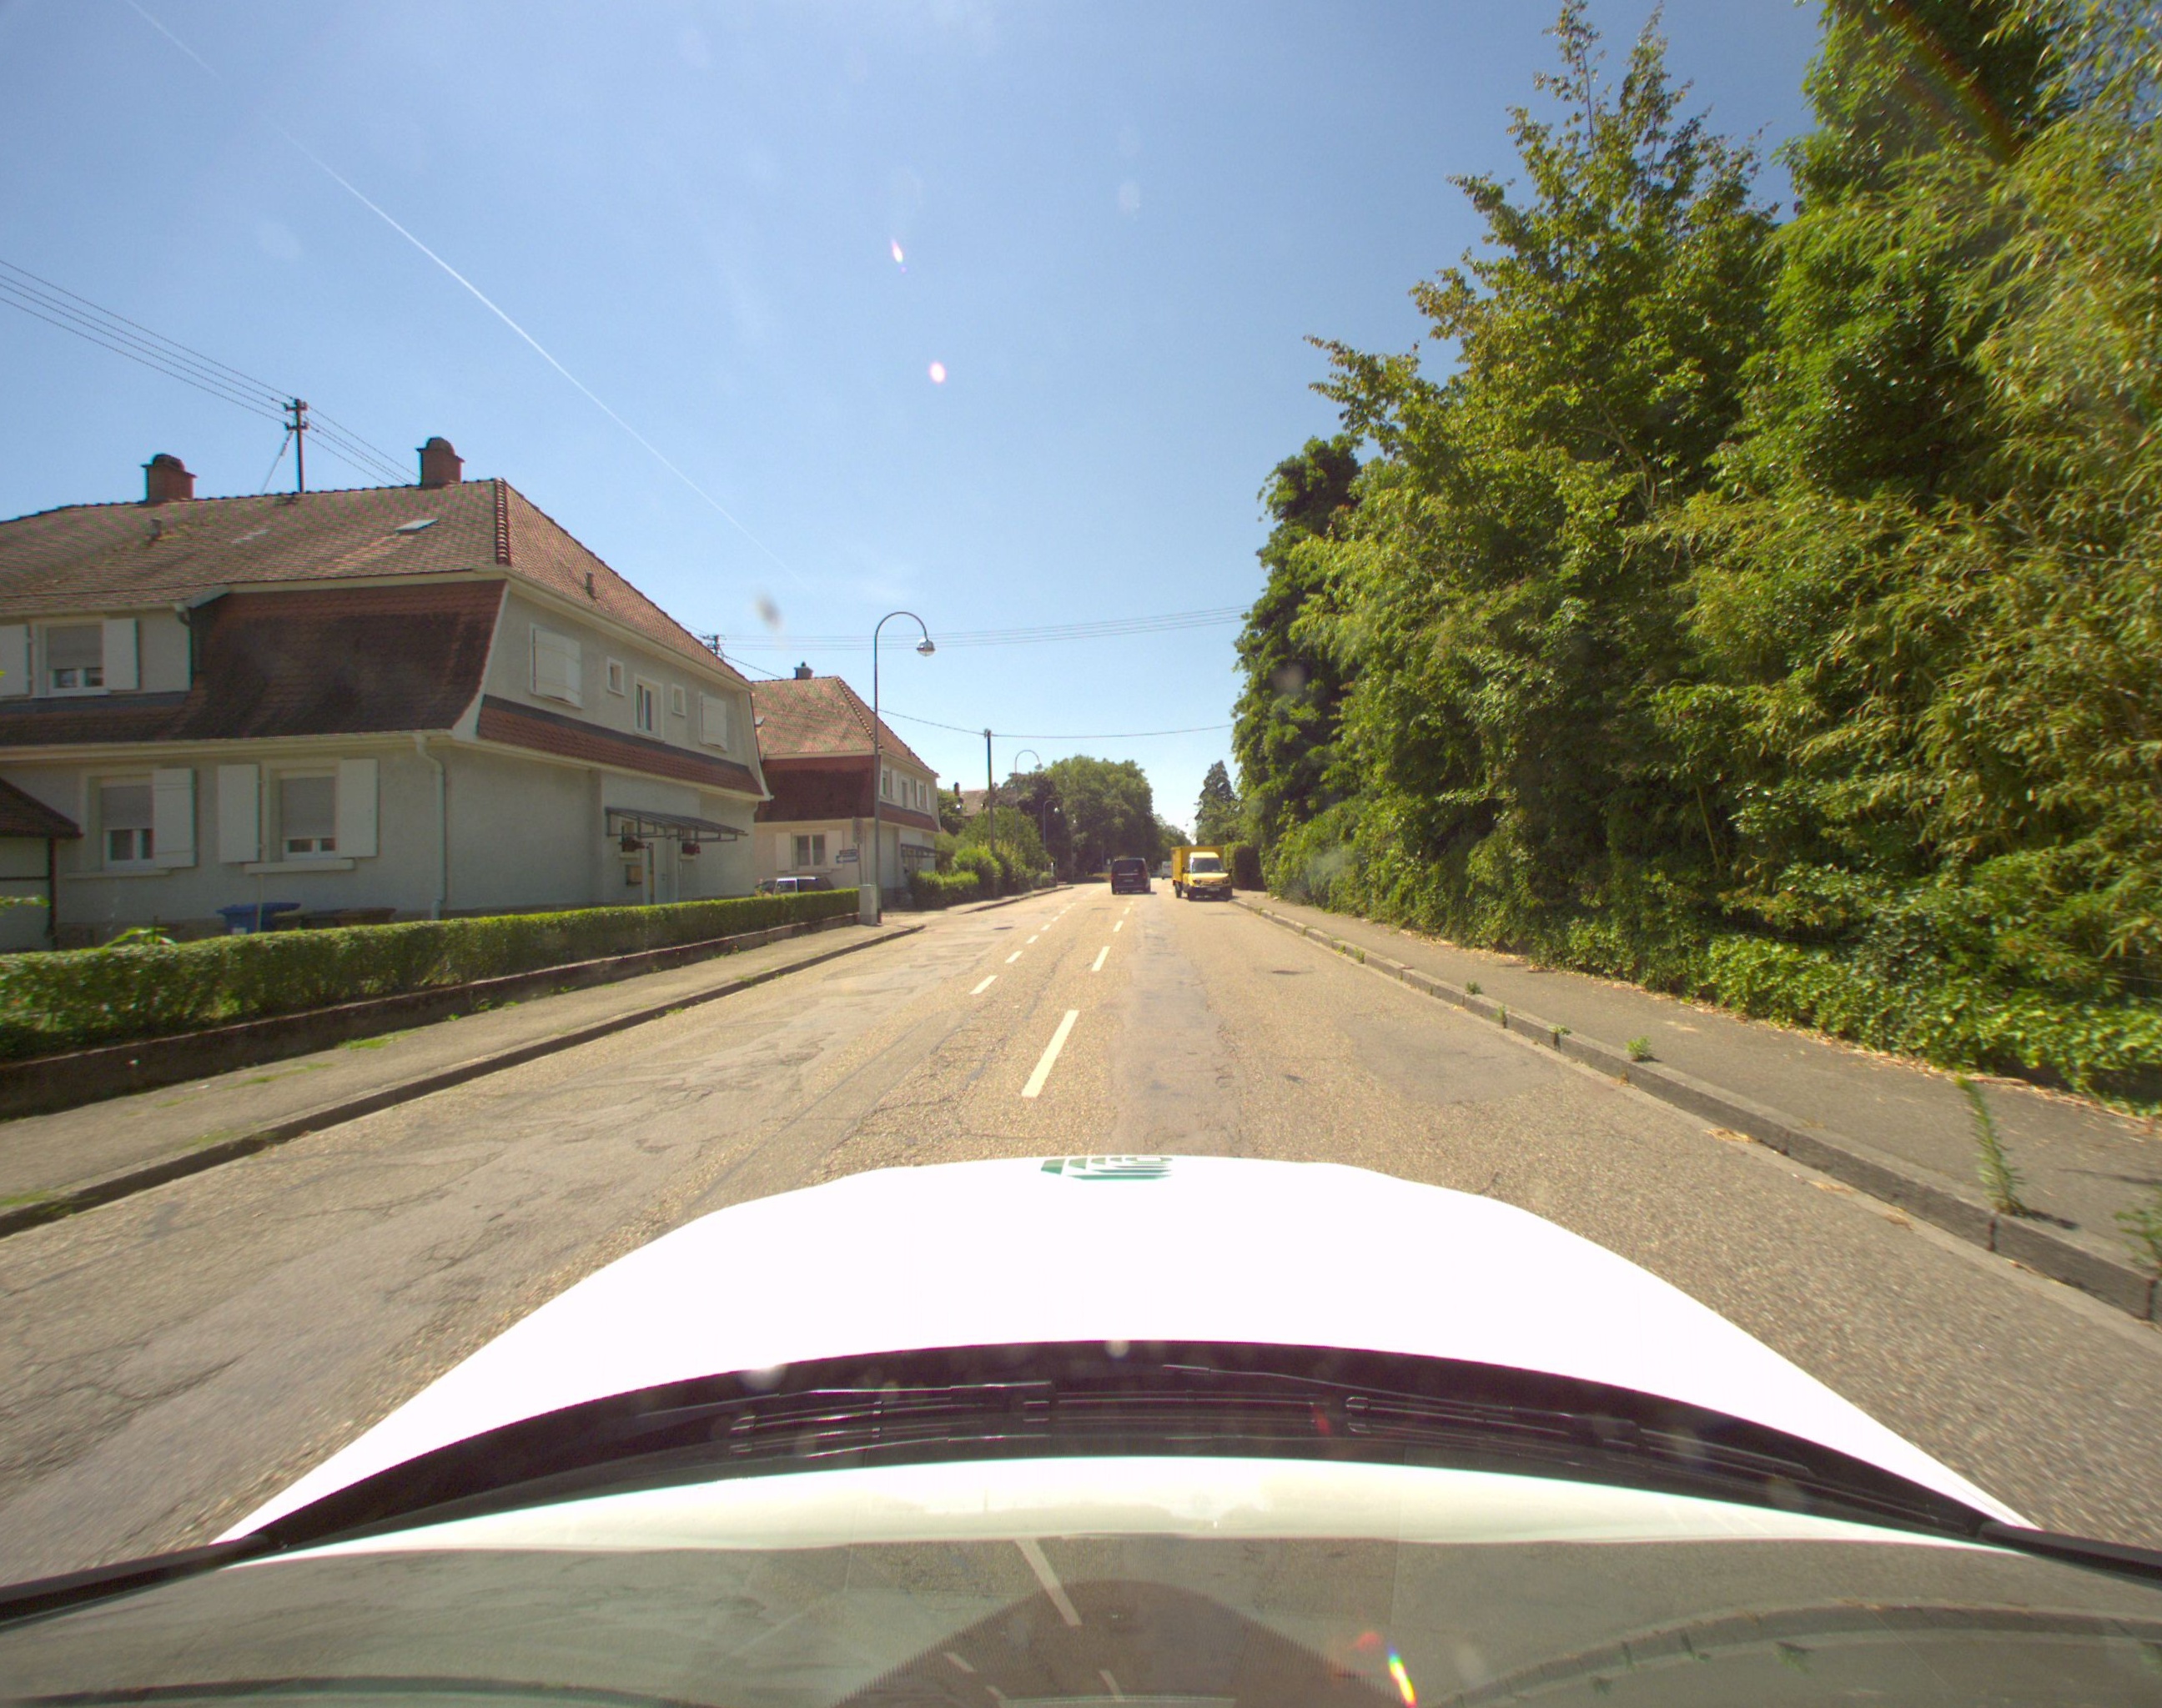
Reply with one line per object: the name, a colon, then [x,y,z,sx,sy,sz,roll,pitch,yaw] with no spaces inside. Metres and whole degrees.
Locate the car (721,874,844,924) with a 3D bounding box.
car: [-11.273,1.671,30.888,3.850,1.641,1.881,-3,-1,3]

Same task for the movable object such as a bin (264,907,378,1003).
movable object such as a bin: [-11.396,1.491,12.247,0.816,1.322,0.920,-2,-1,1]

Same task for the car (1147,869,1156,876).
car: [15.489,4.066,178.252,1.537,1.449,3.016,-3,-1,13]

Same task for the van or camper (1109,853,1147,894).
van or camper: [2.565,0.997,43.527,1.894,2.014,5.276,-1,-1,5]

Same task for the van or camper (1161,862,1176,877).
van or camper: [12.761,2.244,118.880,1.983,2.014,4.007,-2,-1,6]

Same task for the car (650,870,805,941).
car: [-10.749,1.538,24.945,3.850,1.905,1.881,-3,-1,3]

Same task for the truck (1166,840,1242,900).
truck: [5.134,0.694,34.870,2.348,2.258,6.092,-2,-1,1]

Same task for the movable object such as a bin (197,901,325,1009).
movable object such as a bin: [-12.269,1.482,12.222,0.874,1.473,1.009,-2,-1,1]

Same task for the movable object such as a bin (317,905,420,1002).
movable object such as a bin: [-10.620,1.458,12.173,0.687,1.322,0.920,-2,-1,1]
